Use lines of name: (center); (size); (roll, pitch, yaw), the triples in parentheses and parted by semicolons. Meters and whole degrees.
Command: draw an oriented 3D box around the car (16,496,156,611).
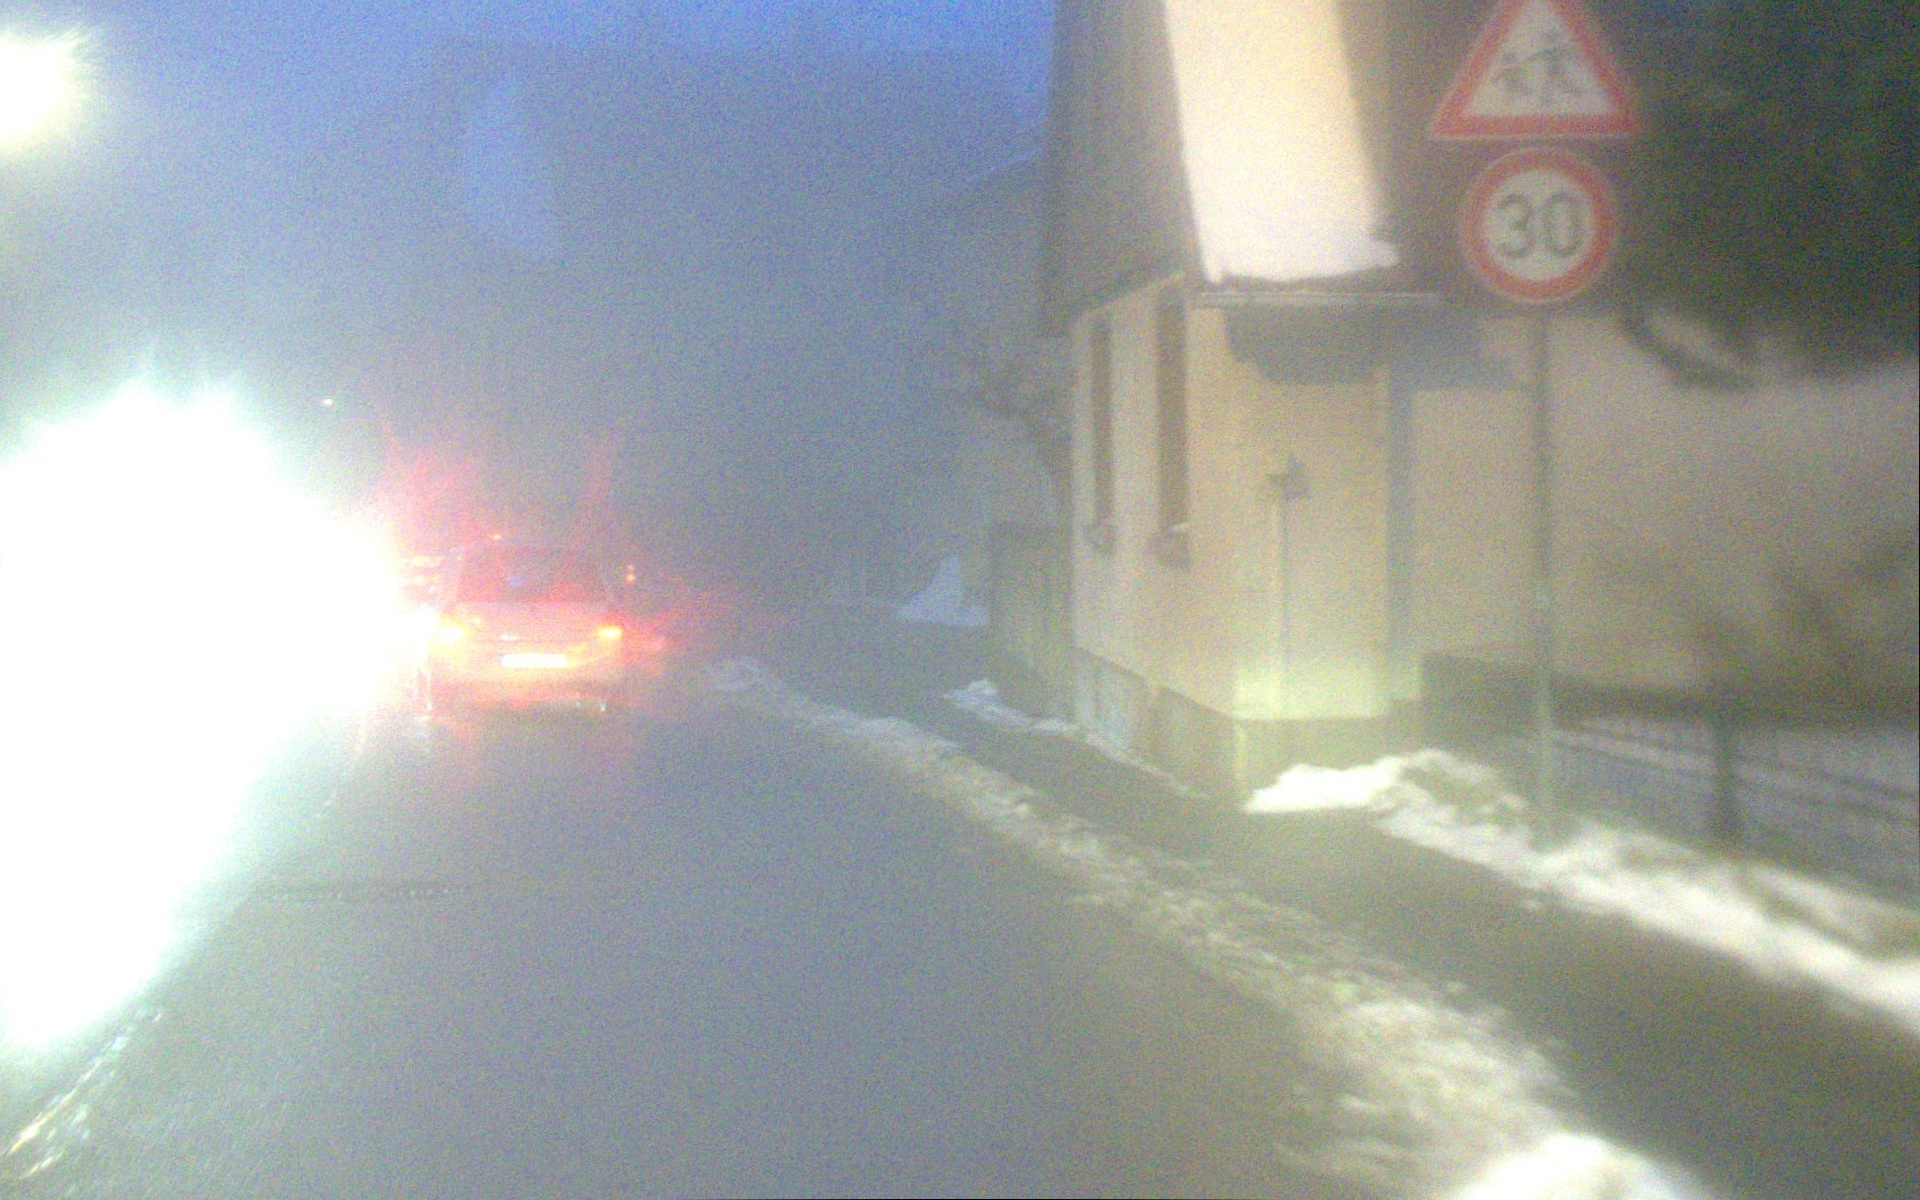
car: (-13.673, -0.699, 53.954); (1.840, 1.681, 4.479); (-1, 0, -11)

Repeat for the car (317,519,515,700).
car: (-6.494, 0.120, 41.415); (1.993, 2.007, 4.000); (2, -1, -5)

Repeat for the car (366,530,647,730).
car: (-3.885, 0.244, 28.907); (1.993, 1.503, 4.001); (2, -1, -12)
